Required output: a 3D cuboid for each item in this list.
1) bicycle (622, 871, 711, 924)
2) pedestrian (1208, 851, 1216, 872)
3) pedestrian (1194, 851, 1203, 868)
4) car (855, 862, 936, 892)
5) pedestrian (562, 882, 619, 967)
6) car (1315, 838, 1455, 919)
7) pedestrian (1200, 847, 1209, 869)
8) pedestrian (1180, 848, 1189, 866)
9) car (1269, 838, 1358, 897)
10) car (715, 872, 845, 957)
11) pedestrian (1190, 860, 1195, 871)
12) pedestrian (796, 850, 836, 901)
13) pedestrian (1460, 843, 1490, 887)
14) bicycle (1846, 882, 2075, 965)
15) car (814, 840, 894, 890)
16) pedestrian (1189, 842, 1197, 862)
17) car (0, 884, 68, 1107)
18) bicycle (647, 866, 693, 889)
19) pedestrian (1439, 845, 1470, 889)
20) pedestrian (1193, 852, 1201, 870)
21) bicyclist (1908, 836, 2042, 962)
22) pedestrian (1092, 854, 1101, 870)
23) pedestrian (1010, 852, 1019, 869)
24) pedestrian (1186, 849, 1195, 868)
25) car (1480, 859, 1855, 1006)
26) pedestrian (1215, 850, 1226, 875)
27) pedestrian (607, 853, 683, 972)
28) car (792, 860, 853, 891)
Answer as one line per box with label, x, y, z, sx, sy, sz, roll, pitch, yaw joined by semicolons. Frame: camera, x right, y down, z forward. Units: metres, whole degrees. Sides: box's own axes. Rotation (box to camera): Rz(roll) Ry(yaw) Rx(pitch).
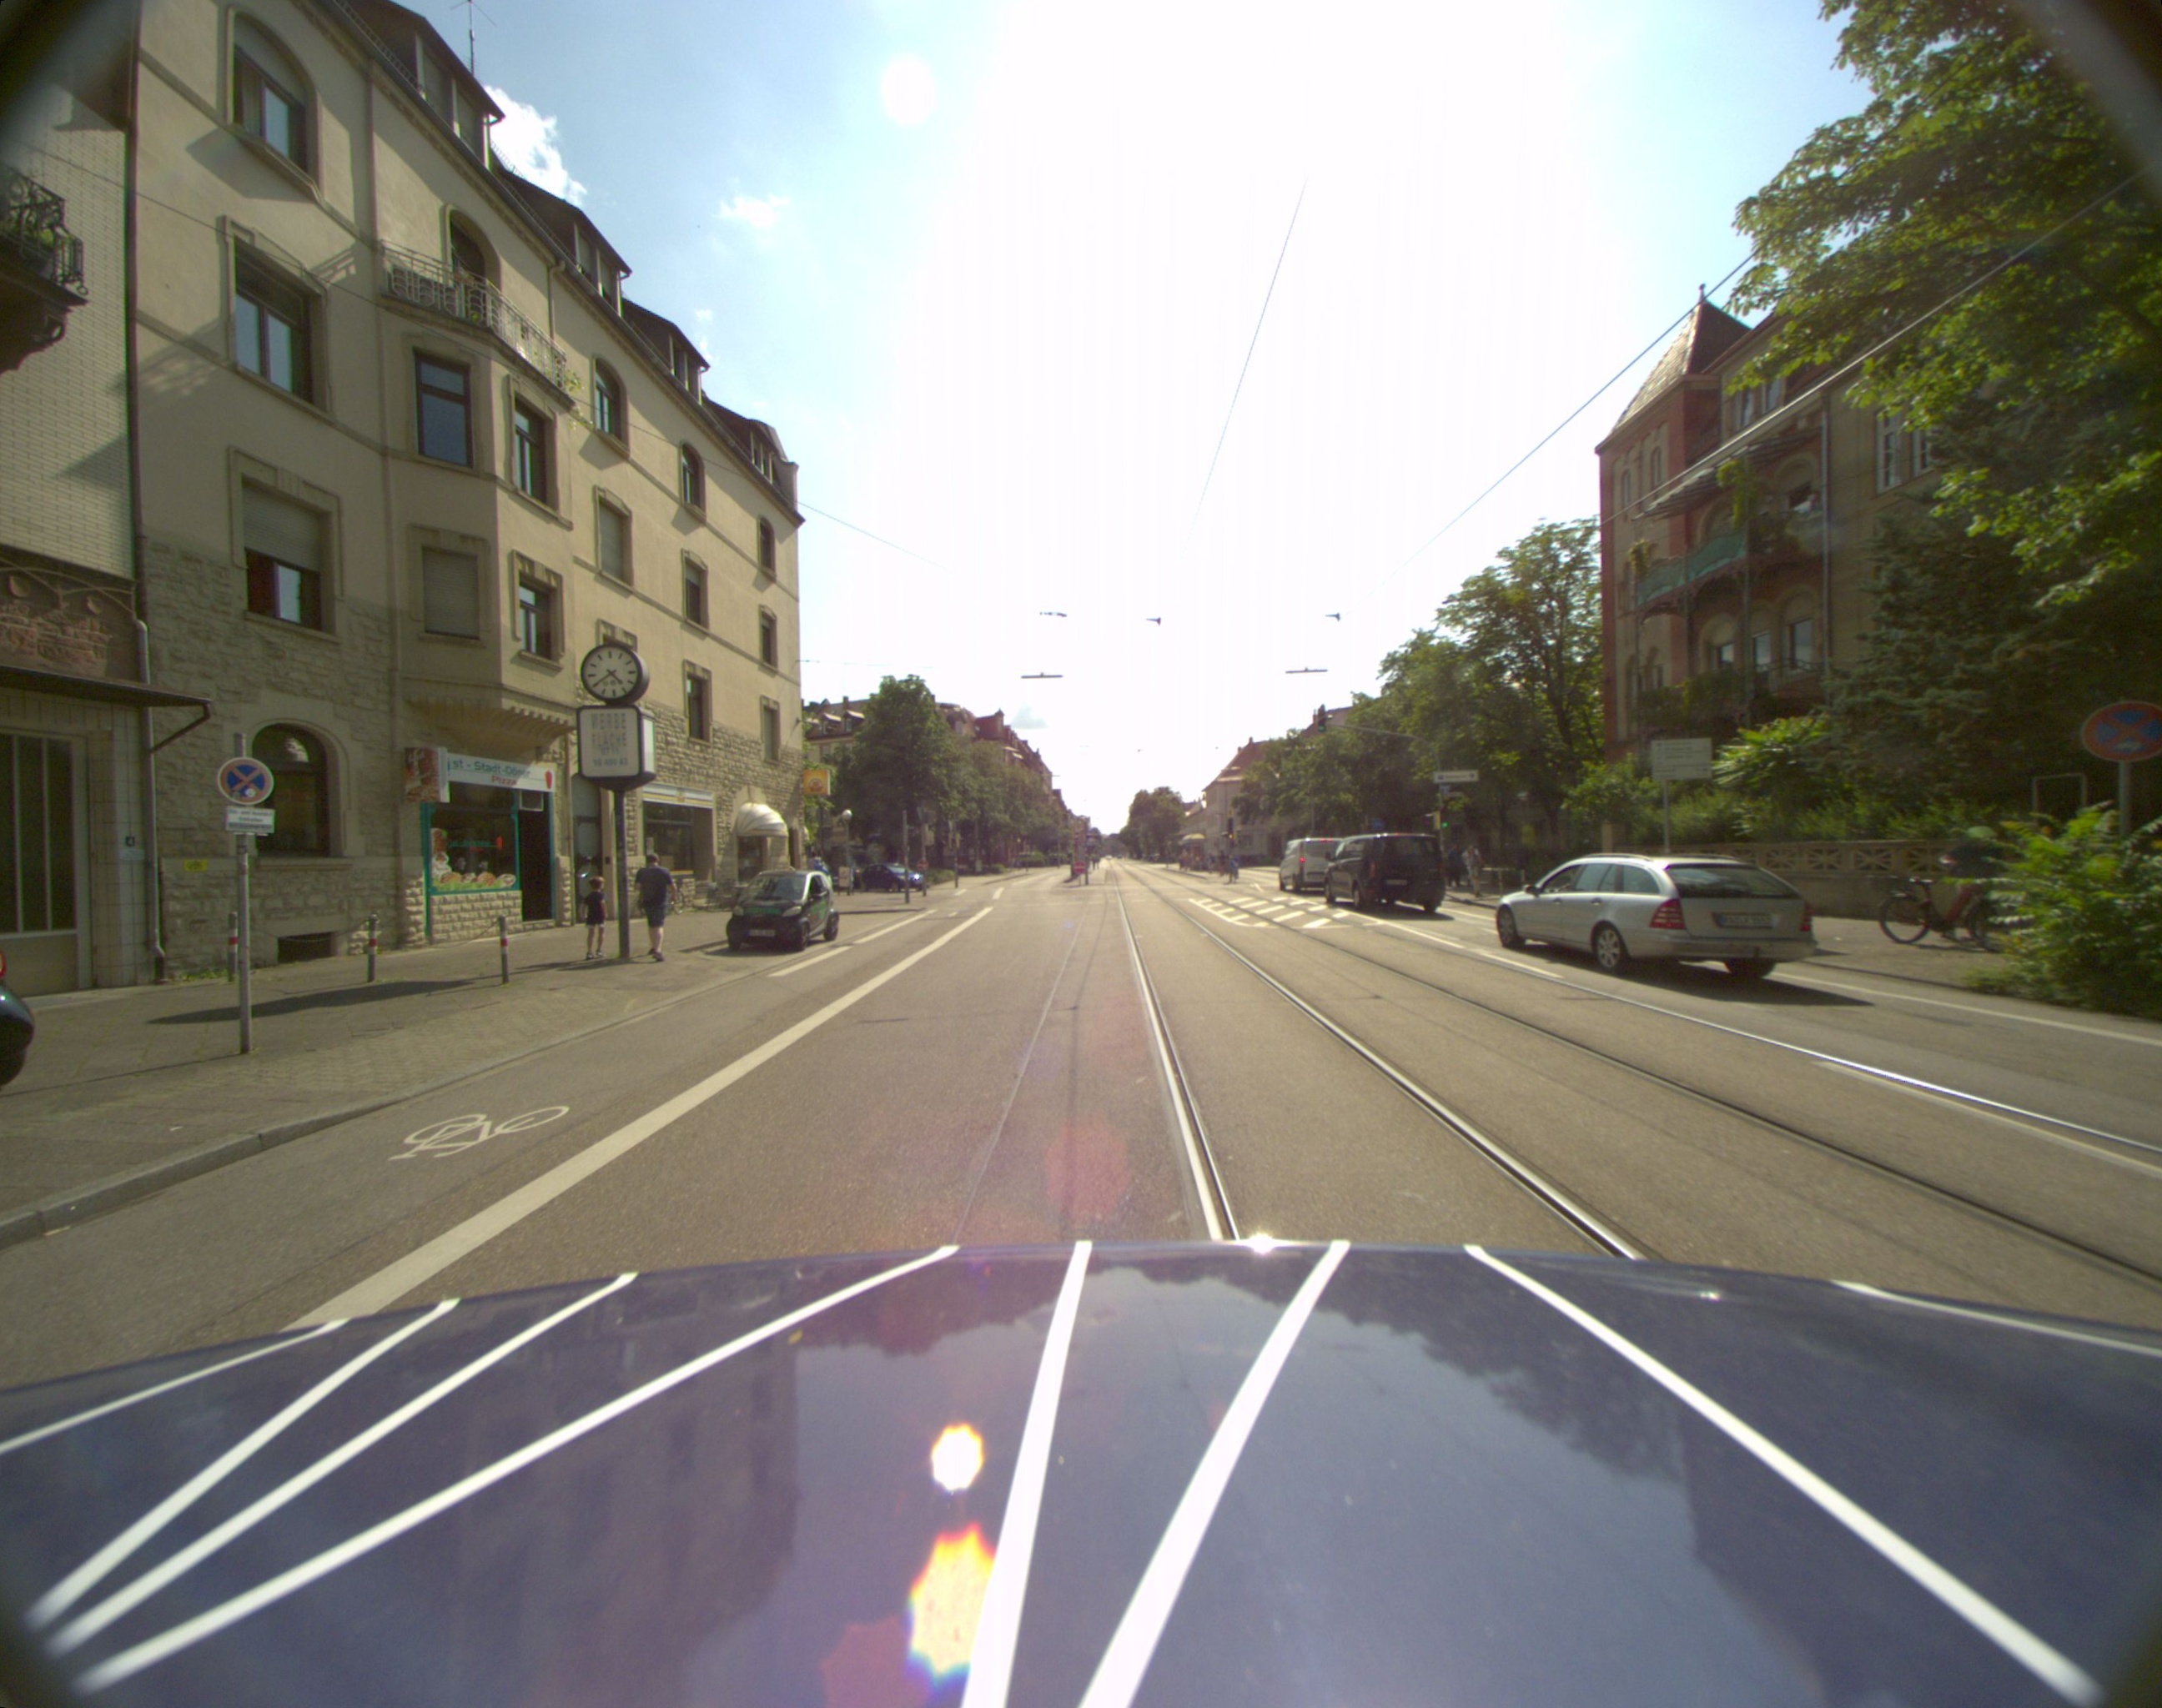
bicycle;-10.865;1.112;20.076;0.807;1.171;2.751;-3;1;-1
pedestrian;9.112;0.524;52.997;0.428;1.495;0.704;0;1;2
pedestrian;9.703;0.450;62.765;0.605;1.329;0.406;1;1;-4
car;-9.479;1.168;38.667;3.989;1.410;1.896;-1;0;37
pedestrian;-7.925;1.129;12.283;0.571;1.318;0.442;3;0;-6
car;8.005;0.550;20.579;1.931;1.906;5.124;1;1;3
pedestrian;9.545;0.325;58.532;0.473;1.647;0.746;4;1;1
pedestrian;9.523;0.269;69.860;0.657;1.598;0.638;1;1;-4
car;8.604;0.460;28.634;1.998;1.983;5.089;0;0;2
car;-6.022;1.162;15.508;1.517;1.490;2.794;1;0;0
pedestrian;9.354;1.001;63.927;0.340;0.925;0.346;1;1;-5
pedestrian;-9.547;0.757;27.378;1.013;1.758;0.850;4;0;3
pedestrian;14.929;0.418;28.817;0.613;1.647;0.725;-4;0;-12
bicycle;12.193;0.926;10.655;1.001;0.927;1.860;-5;0;1
car;-13.922;0.702;46.176;2.397;2.777;6.658;-1;-1;-37
pedestrian;9.445;-0.148;63.948;0.498;1.660;0.678;1;1;-4
car;-9.157;0.974;4.668;3.408;1.515;1.972;0;1;4
bicycle;-21.311;1.230;39.417;0.586;1.109;1.977;-3;-1;36
pedestrian;14.716;0.505;29.940;0.624;1.688;0.848;-4;1;-10
pedestrian;9.178;0.563;60.141;0.530;1.448;0.692;1;1;0
bicyclist;12.274;0.595;10.456;0.952;1.635;0.702;-3;1;1
pedestrian;1.510;0.740;74.073;0.702;1.524;0.557;-3;1;2
pedestrian;-6.634;0.666;76.014;0.707;1.644;0.534;-3;1;2
pedestrian;9.564;0.394;66.270;0.657;1.632;0.639;1;1;2
car;7.180;0.815;10.033;1.696;1.471;4.483;0;0;4
pedestrian;8.446;0.512;45.954;0.538;1.533;0.516;-1;-1;1
pedestrian;-7.073;0.922;12.376;0.661;1.831;0.873;4;0;-6
car;-14.561;1.210;42.688;1.731;1.546;4.102;-5;2;-40
